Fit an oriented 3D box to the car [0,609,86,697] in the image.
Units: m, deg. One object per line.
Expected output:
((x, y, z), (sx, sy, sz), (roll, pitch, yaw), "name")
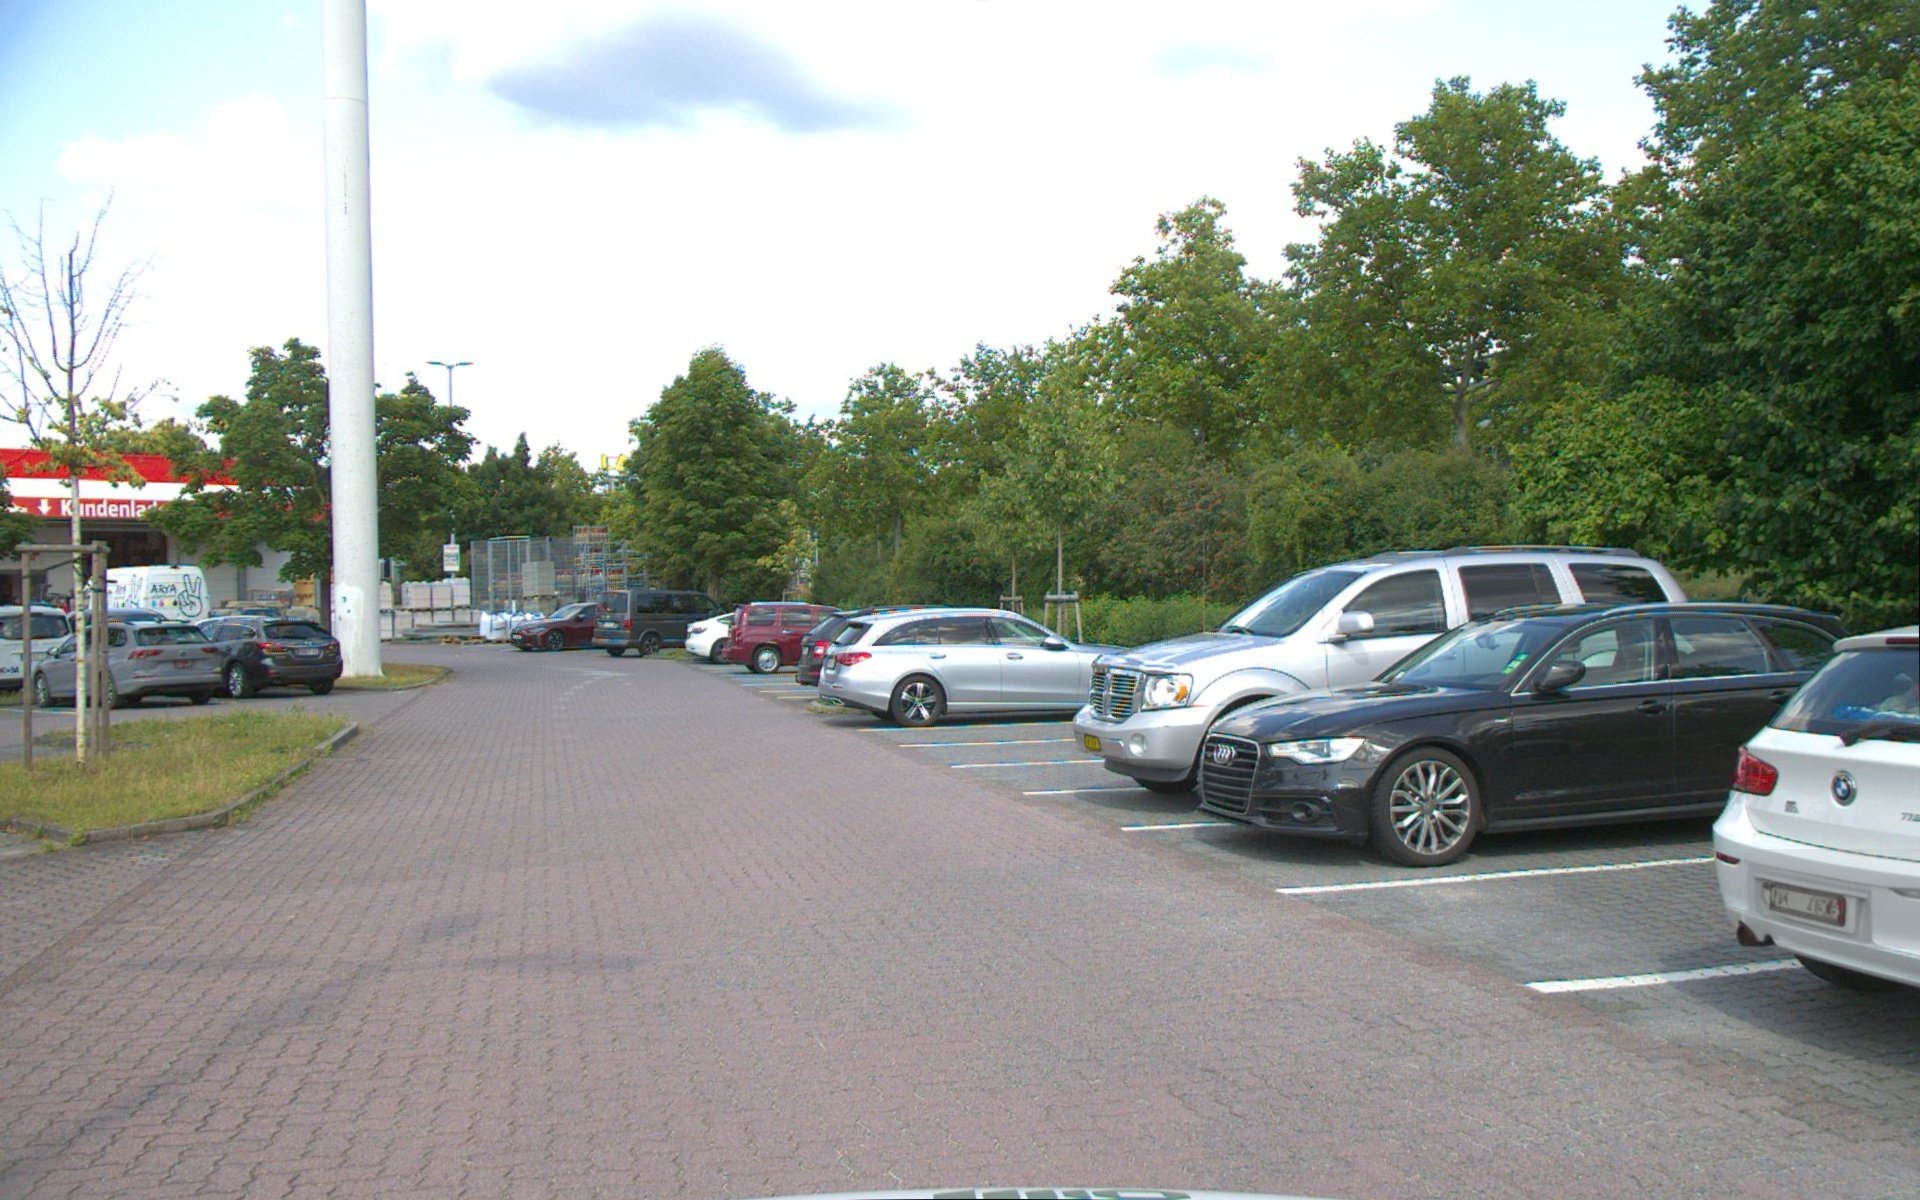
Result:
((-19.347, 1.066, 33.115), (3.924, 1.624, 1.901), (-2, 0, 39), "car")

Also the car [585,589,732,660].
((-9.080, 0.752, 49.976), (1.915, 2.054, 4.028), (-2, -2, 45), "car")

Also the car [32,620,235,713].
((-14.584, 1.147, 29.133), (3.699, 1.472, 1.718), (-2, 0, 37), "car")

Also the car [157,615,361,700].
((-13.446, 1.080, 31.655), (4.010, 1.464, 1.820), (-2, 0, 37), "car")

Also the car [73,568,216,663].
((-23.041, 0.419, 46.685), (4.643, 2.554, 2.041), (0, 0, 41), "car")

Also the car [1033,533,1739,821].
((3.293, 0.502, 12.973), (5.048, 1.875, 1.982), (-2, 0, -16), "car")

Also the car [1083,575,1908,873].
((3.264, 0.660, 10.331), (4.629, 1.476, 1.833), (-2, 0, -14), "car")

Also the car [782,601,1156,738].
((0.094, 0.851, 21.622), (4.563, 1.531, 1.777), (-2, 0, -16), "car")

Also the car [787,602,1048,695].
((-0.713, 0.775, 26.659), (3.922, 1.405, 1.691), (0, -2, -16), "car")

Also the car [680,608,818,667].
((-5.790, 1.025, 45.263), (3.572, 1.494, 1.627), (-1, -2, -15), "car")

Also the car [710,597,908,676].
((-3.503, 0.818, 38.136), (4.238, 1.624, 1.991), (-2, 0, -17), "car")

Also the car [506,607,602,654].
((-12.946, 0.995, 52.741), (2.666, 1.457, 1.334), (2, -3, -42), "car")

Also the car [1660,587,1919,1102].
((4.752, 0.685, 5.774), (3.997, 1.536, 1.685), (-2, 0, -12), "car")
